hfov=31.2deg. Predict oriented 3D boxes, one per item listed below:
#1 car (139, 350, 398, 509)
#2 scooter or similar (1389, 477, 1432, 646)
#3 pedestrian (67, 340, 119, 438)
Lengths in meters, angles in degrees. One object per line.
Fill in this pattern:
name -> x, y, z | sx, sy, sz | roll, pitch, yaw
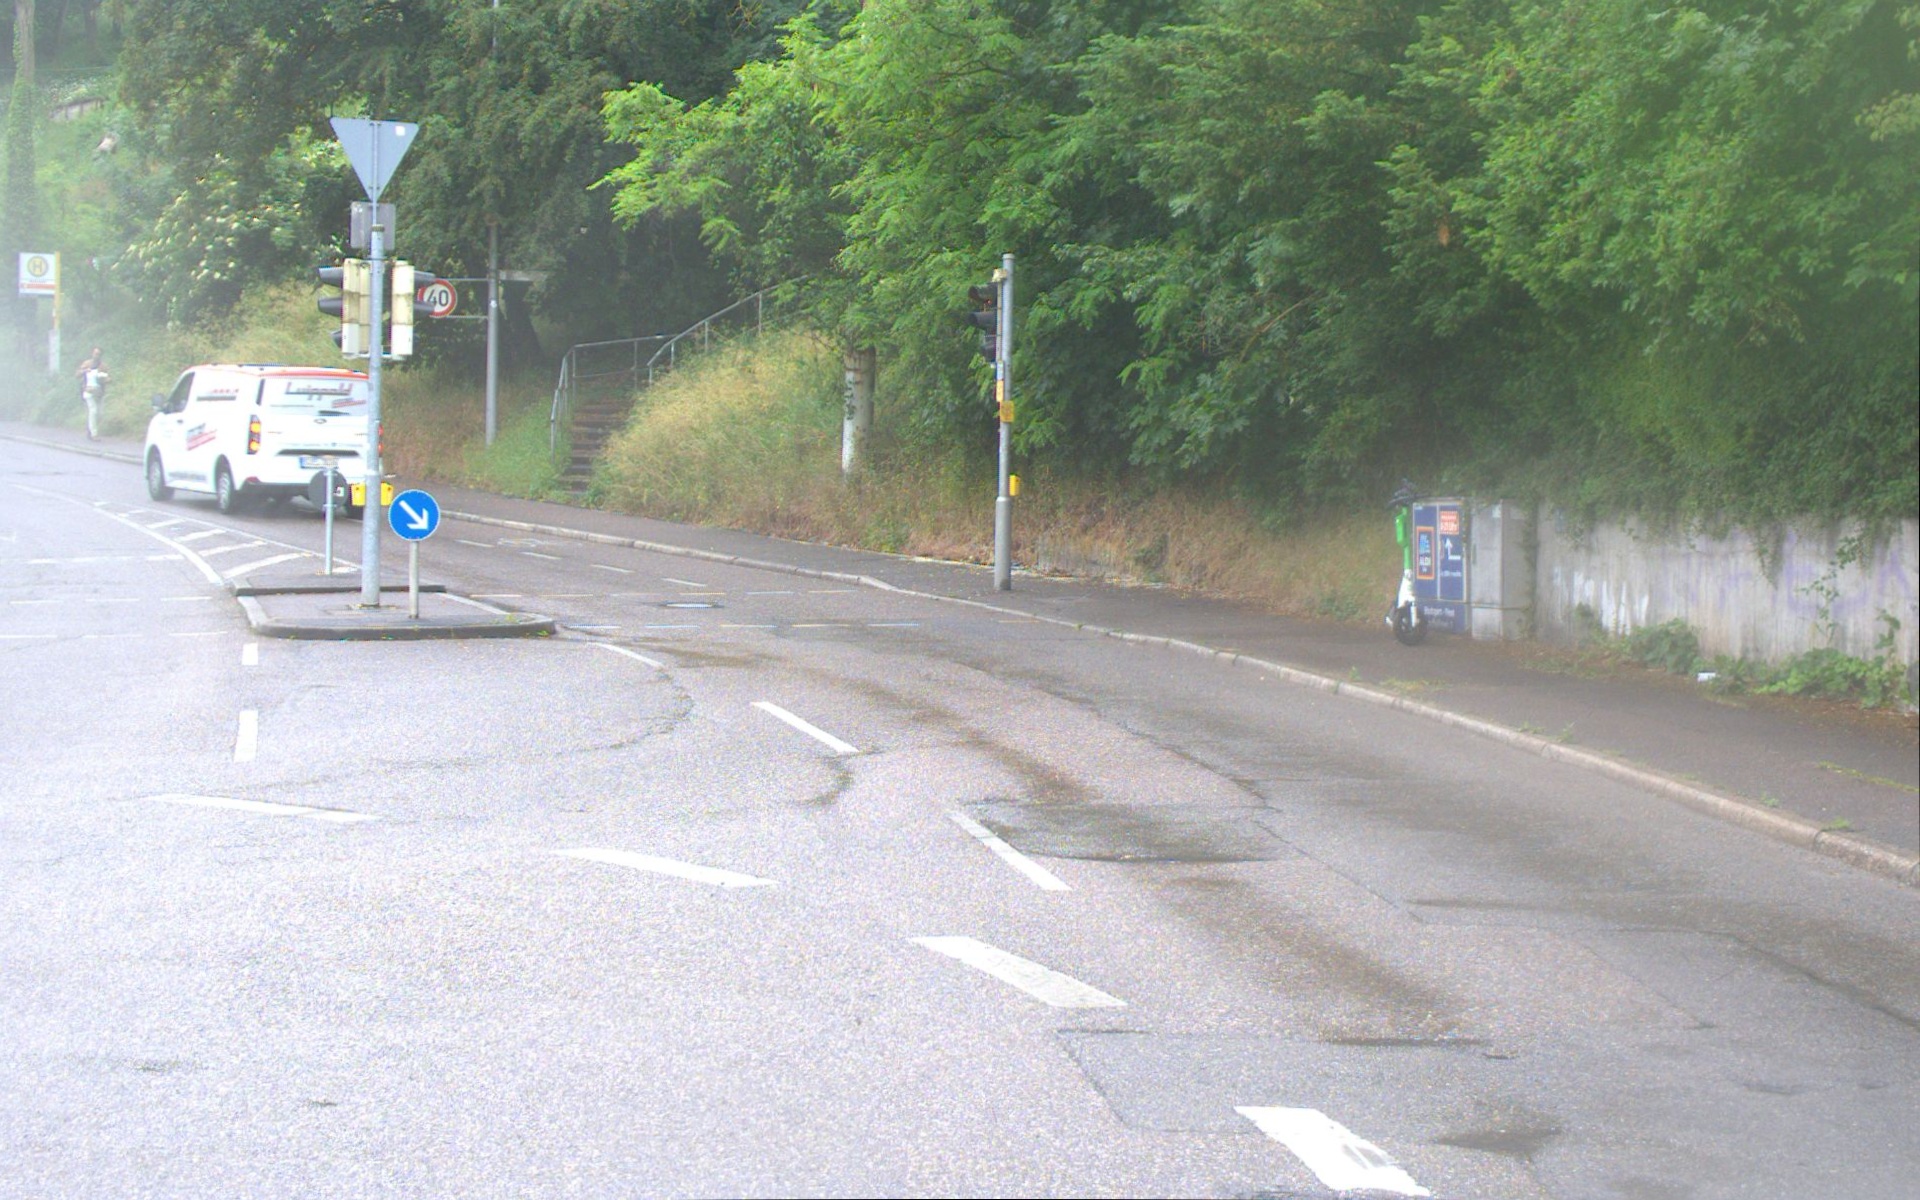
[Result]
car -> -9.375, -2.268, 46.314 | 2.066, 1.999, 4.815 | 0, 2, -29
scooter or similar -> 3.497, -0.309, 26.697 | 0.322, 1.275, 0.751 | 0, 4, 7
pedestrian -> -15.937, -3.875, 63.185 | 0.880, 1.730, 0.866 | 0, 0, -17
